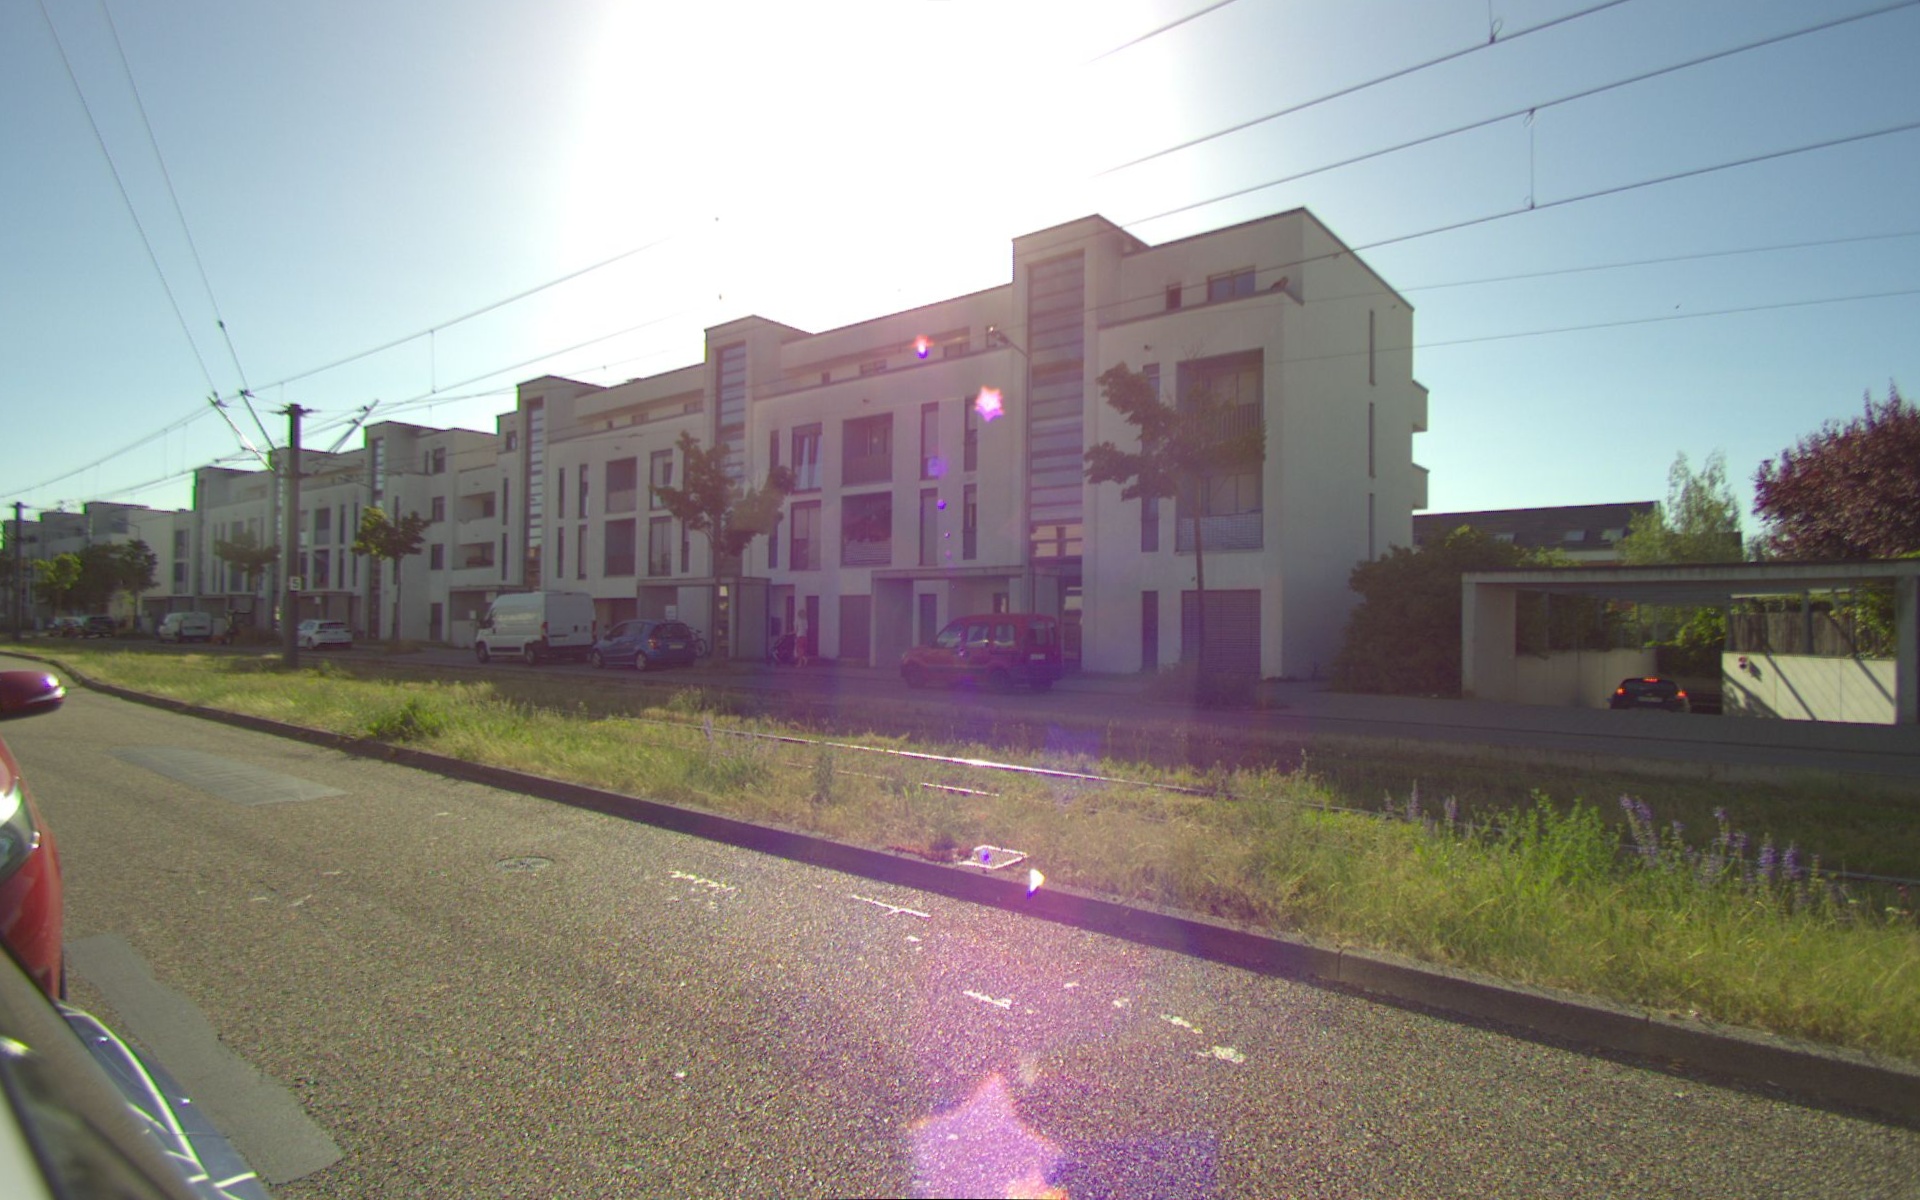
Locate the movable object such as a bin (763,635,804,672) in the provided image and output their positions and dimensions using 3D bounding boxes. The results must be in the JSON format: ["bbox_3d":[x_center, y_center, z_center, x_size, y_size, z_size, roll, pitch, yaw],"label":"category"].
[{"bbox_3d":[-5.437,1.631,31.118,1.083,1.062,0.719,-1,0,42],"label":"movable object such as a bin"}]

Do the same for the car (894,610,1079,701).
[{"bbox_3d":[0.545,1.176,23.016,3.895,1.842,1.972,-1,0,43],"label":"car"}]

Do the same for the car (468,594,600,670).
[{"bbox_3d":[-15.187,1.083,35.942,5.193,2.491,2.197,-1,0,40],"label":"car"}]

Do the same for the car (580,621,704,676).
[{"bbox_3d":[-9.993,1.456,31.737,3.833,1.556,1.973,-1,0,40],"label":"car"}]

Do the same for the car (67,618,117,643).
[{"bbox_3d":[-62.969,2.173,73.403,4.277,1.693,1.900,-1,0,37],"label":"car"}]

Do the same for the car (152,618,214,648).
[{"bbox_3d":[-47.348,1.970,61.622,4.277,1.693,1.900,-1,0,37],"label":"car"}]

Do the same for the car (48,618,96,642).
[{"bbox_3d":[-67.514,2.263,76.927,4.277,1.693,1.900,-1,0,37],"label":"car"}]

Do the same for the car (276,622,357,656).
[{"bbox_3d":[-31.128,1.847,48.896,4.277,1.517,1.900,-1,0,37],"label":"car"}]

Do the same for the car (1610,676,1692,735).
[{"bbox_3d":[17.984,2.775,26.275,1.574,1.337,3.950,-1,-7,37],"label":"car"}]

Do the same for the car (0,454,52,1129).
[{"bbox_3d":[-4.887,0.557,3.670,4.505,1.868,1.850,-1,0,41],"label":"car"}]

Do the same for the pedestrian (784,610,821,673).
[{"bbox_3d":[-4.740,1.238,30.483,0.785,1.836,0.766,-1,0,41],"label":"pedestrian"}]
